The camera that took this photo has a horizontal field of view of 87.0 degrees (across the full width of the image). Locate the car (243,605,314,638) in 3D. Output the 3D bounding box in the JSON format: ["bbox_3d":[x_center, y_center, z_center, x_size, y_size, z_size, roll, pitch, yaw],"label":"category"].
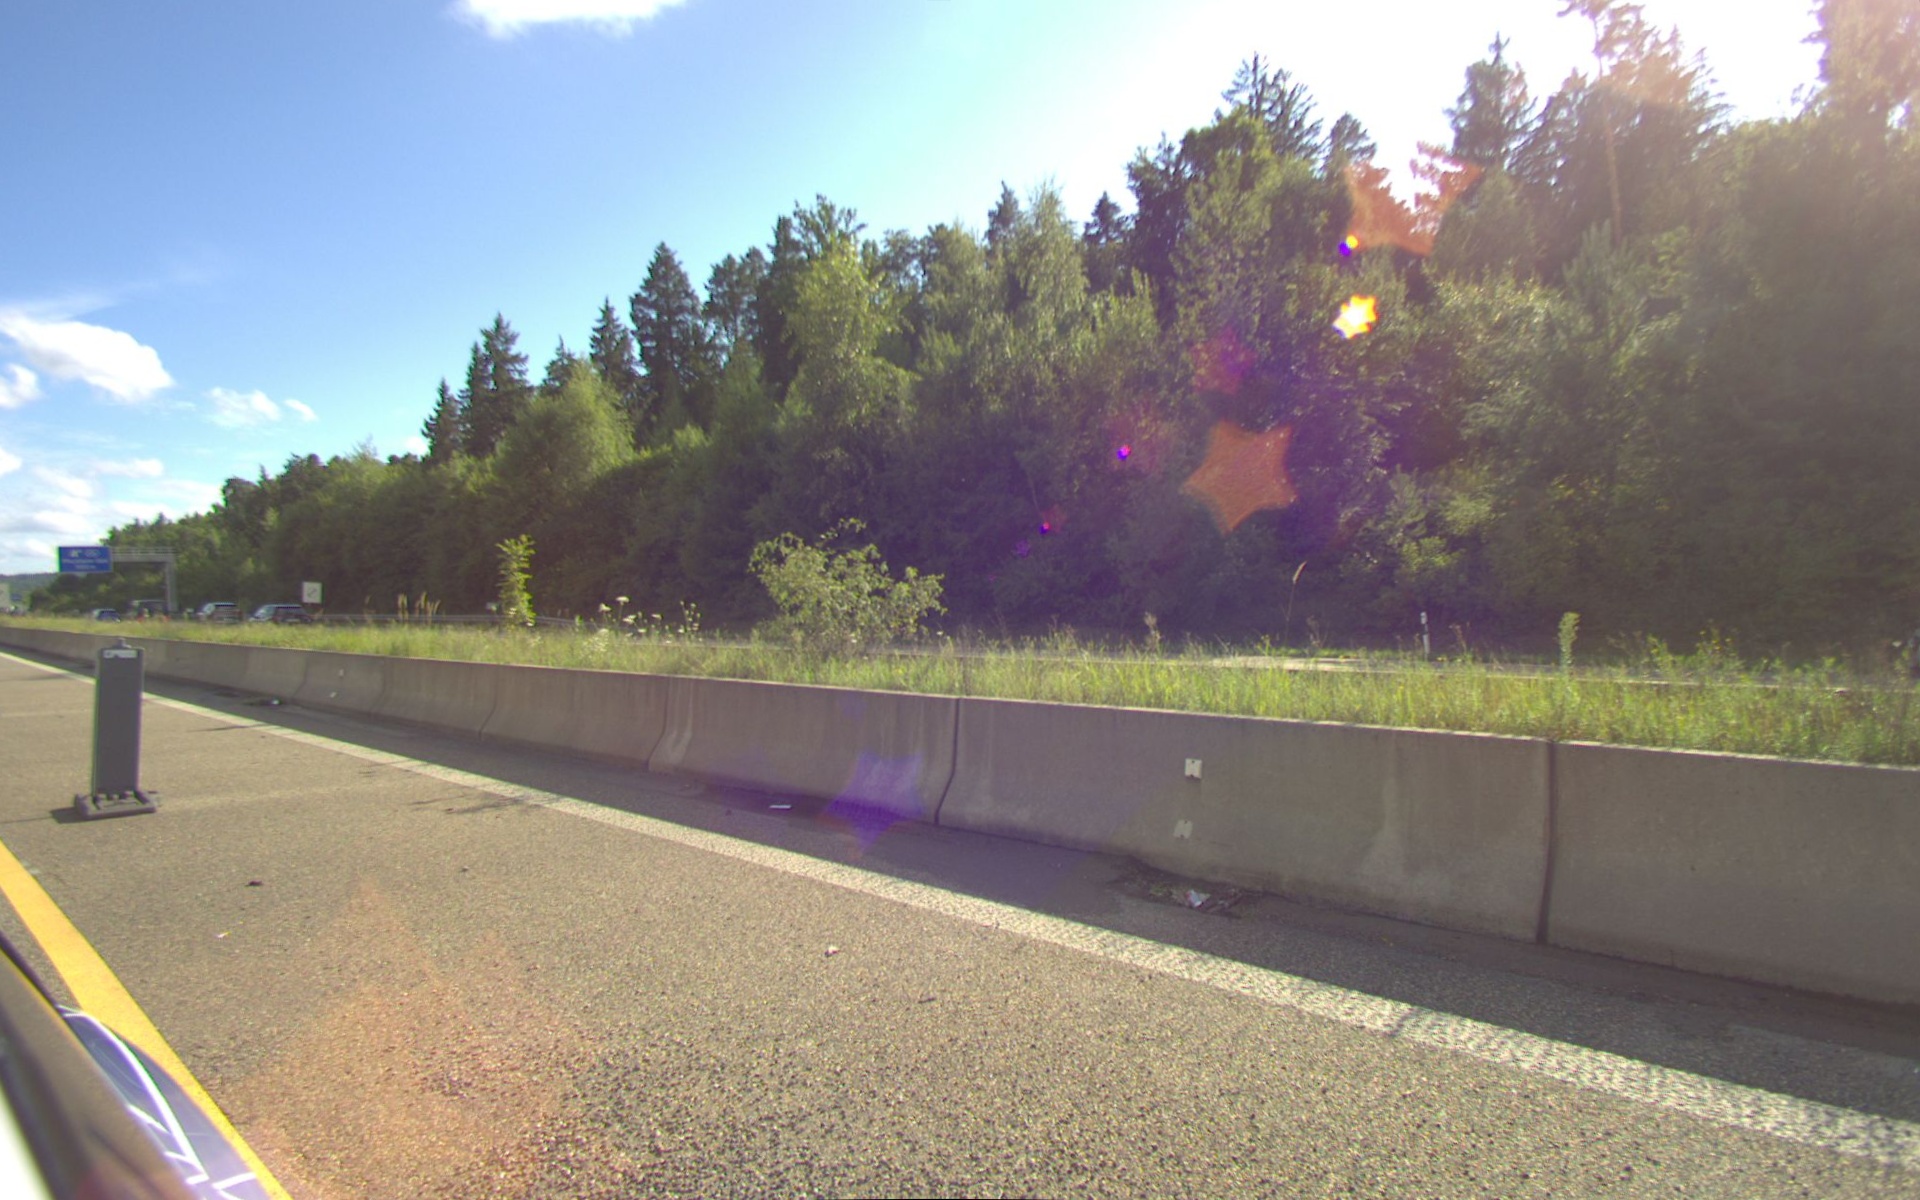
[{"bbox_3d":[-31.914,0.971,47.374,4.103,1.467,1.759,-1,0,41],"label":"car"}]

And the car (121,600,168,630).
[{"bbox_3d":[-55.660,1.004,69.055,4.615,1.917,1.759,-1,0,41],"label":"car"}]

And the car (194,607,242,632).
[{"bbox_3d":[-52.305,1.375,71.337,4.615,1.701,1.759,-1,0,41],"label":"car"}]

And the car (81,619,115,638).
[{"bbox_3d":[-79.603,2.642,93.420,4.309,1.614,1.759,-1,0,41],"label":"car"}]
